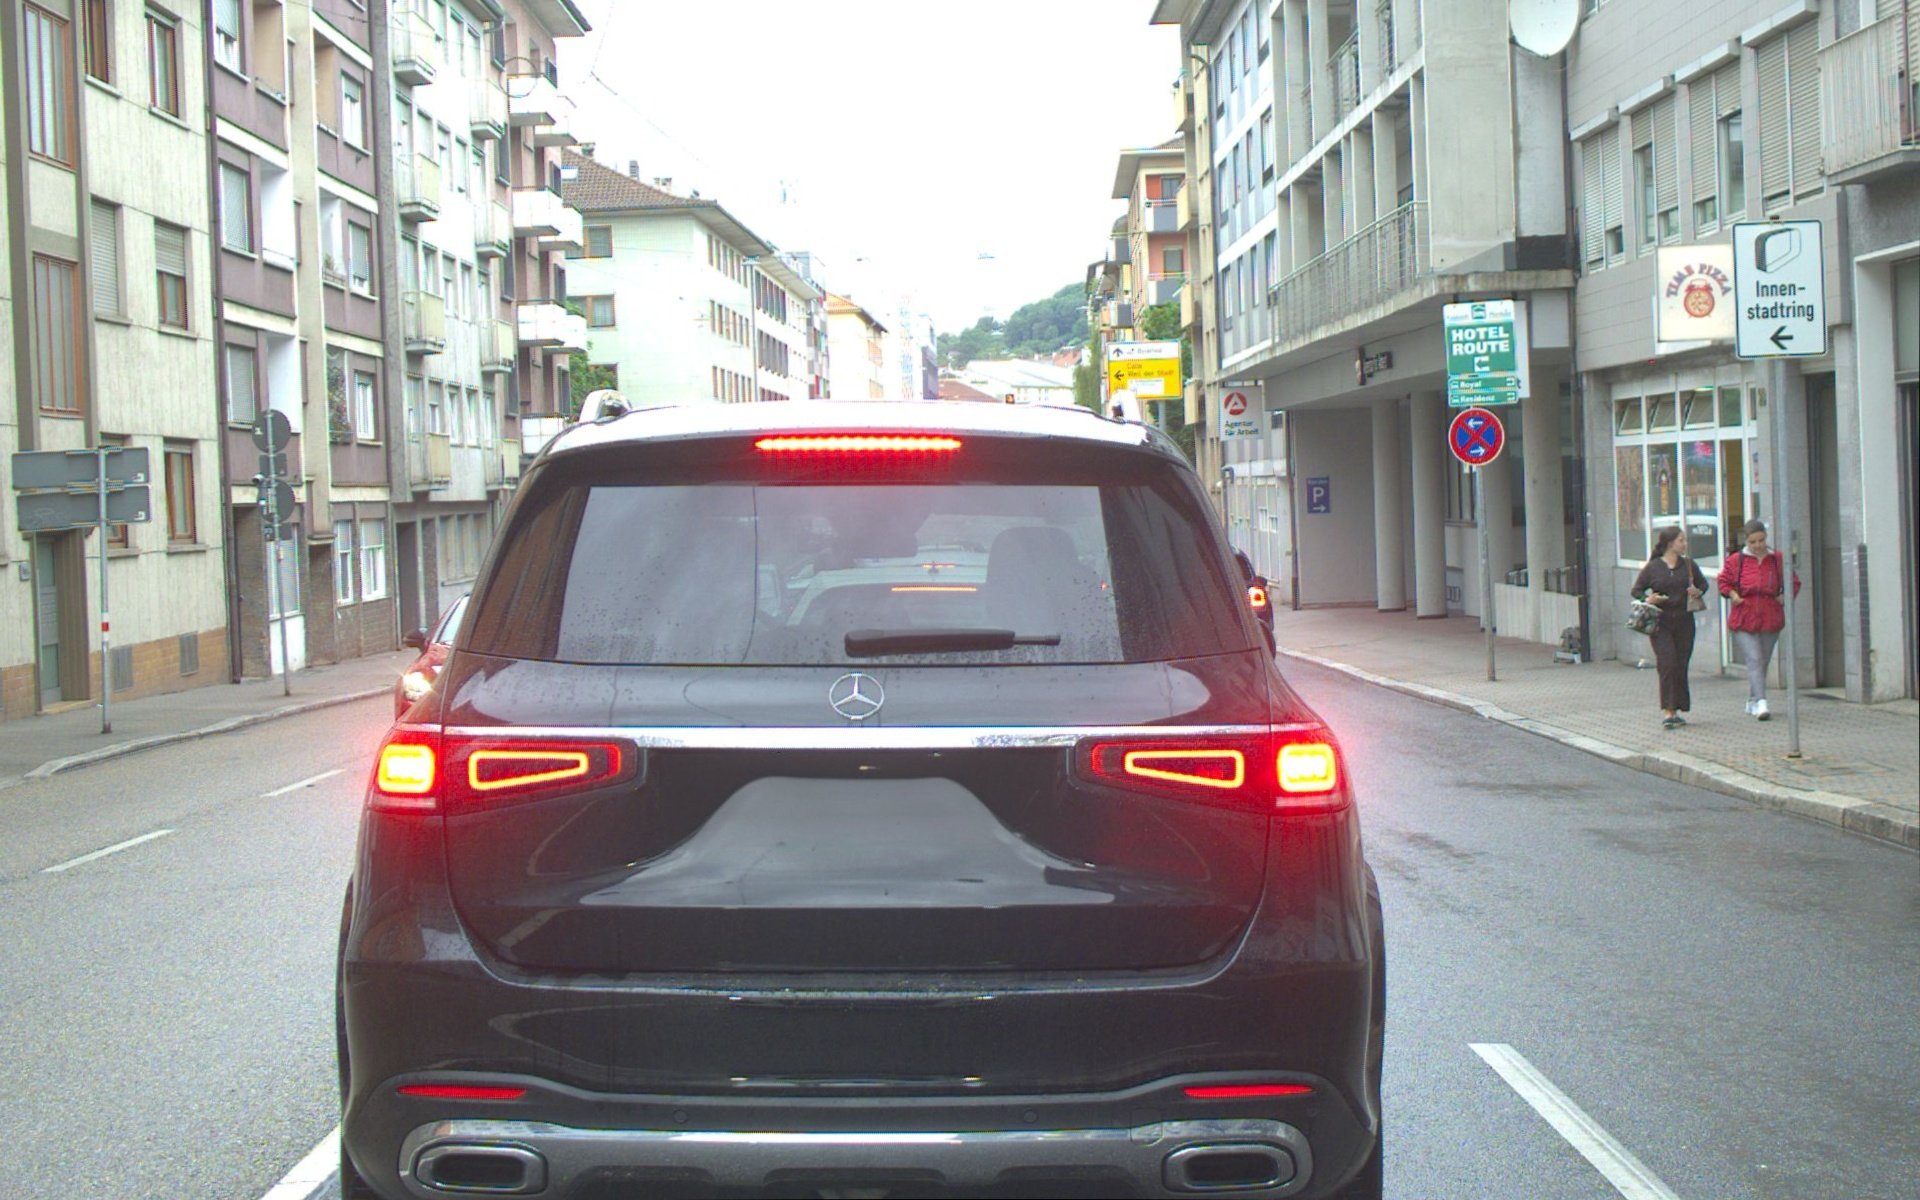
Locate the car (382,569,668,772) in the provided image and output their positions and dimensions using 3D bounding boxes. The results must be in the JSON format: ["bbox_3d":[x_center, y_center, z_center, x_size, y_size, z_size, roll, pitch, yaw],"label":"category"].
[{"bbox_3d":[-3.403,0.502,27.628,1.724,1.385,4.339,-3,1,-1],"label":"car"}]

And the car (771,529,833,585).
[{"bbox_3d":[-4.746,-1.312,103.891,1.648,1.570,4.125,-3,1,-1],"label":"car"}]

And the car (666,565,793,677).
[{"bbox_3d":[-3.662,0.298,55.175,1.732,1.570,4.012,-5,1,-1],"label":"car"}]

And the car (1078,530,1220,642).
[{"bbox_3d":[3.074,-0.257,56.789,1.940,1.769,4.747,0,1,-2],"label":"car"}]

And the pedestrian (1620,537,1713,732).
[{"bbox_3d":[5.588,0.264,27.212,0.506,1.495,0.562,-4,1,-1],"label":"pedestrian"}]

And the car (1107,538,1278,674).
[{"bbox_3d":[2.804,0.038,42.130,1.767,1.575,4.000,-1,1,-1],"label":"car"}]

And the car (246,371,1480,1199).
[{"bbox_3d":[-0.202,0.503,7.702,2.025,1.799,4.000,1,1,-1],"label":"car"}]

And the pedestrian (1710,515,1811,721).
[{"bbox_3d":[6.319,0.138,27.143,0.560,1.573,0.526,-4,1,-1],"label":"pedestrian"}]
